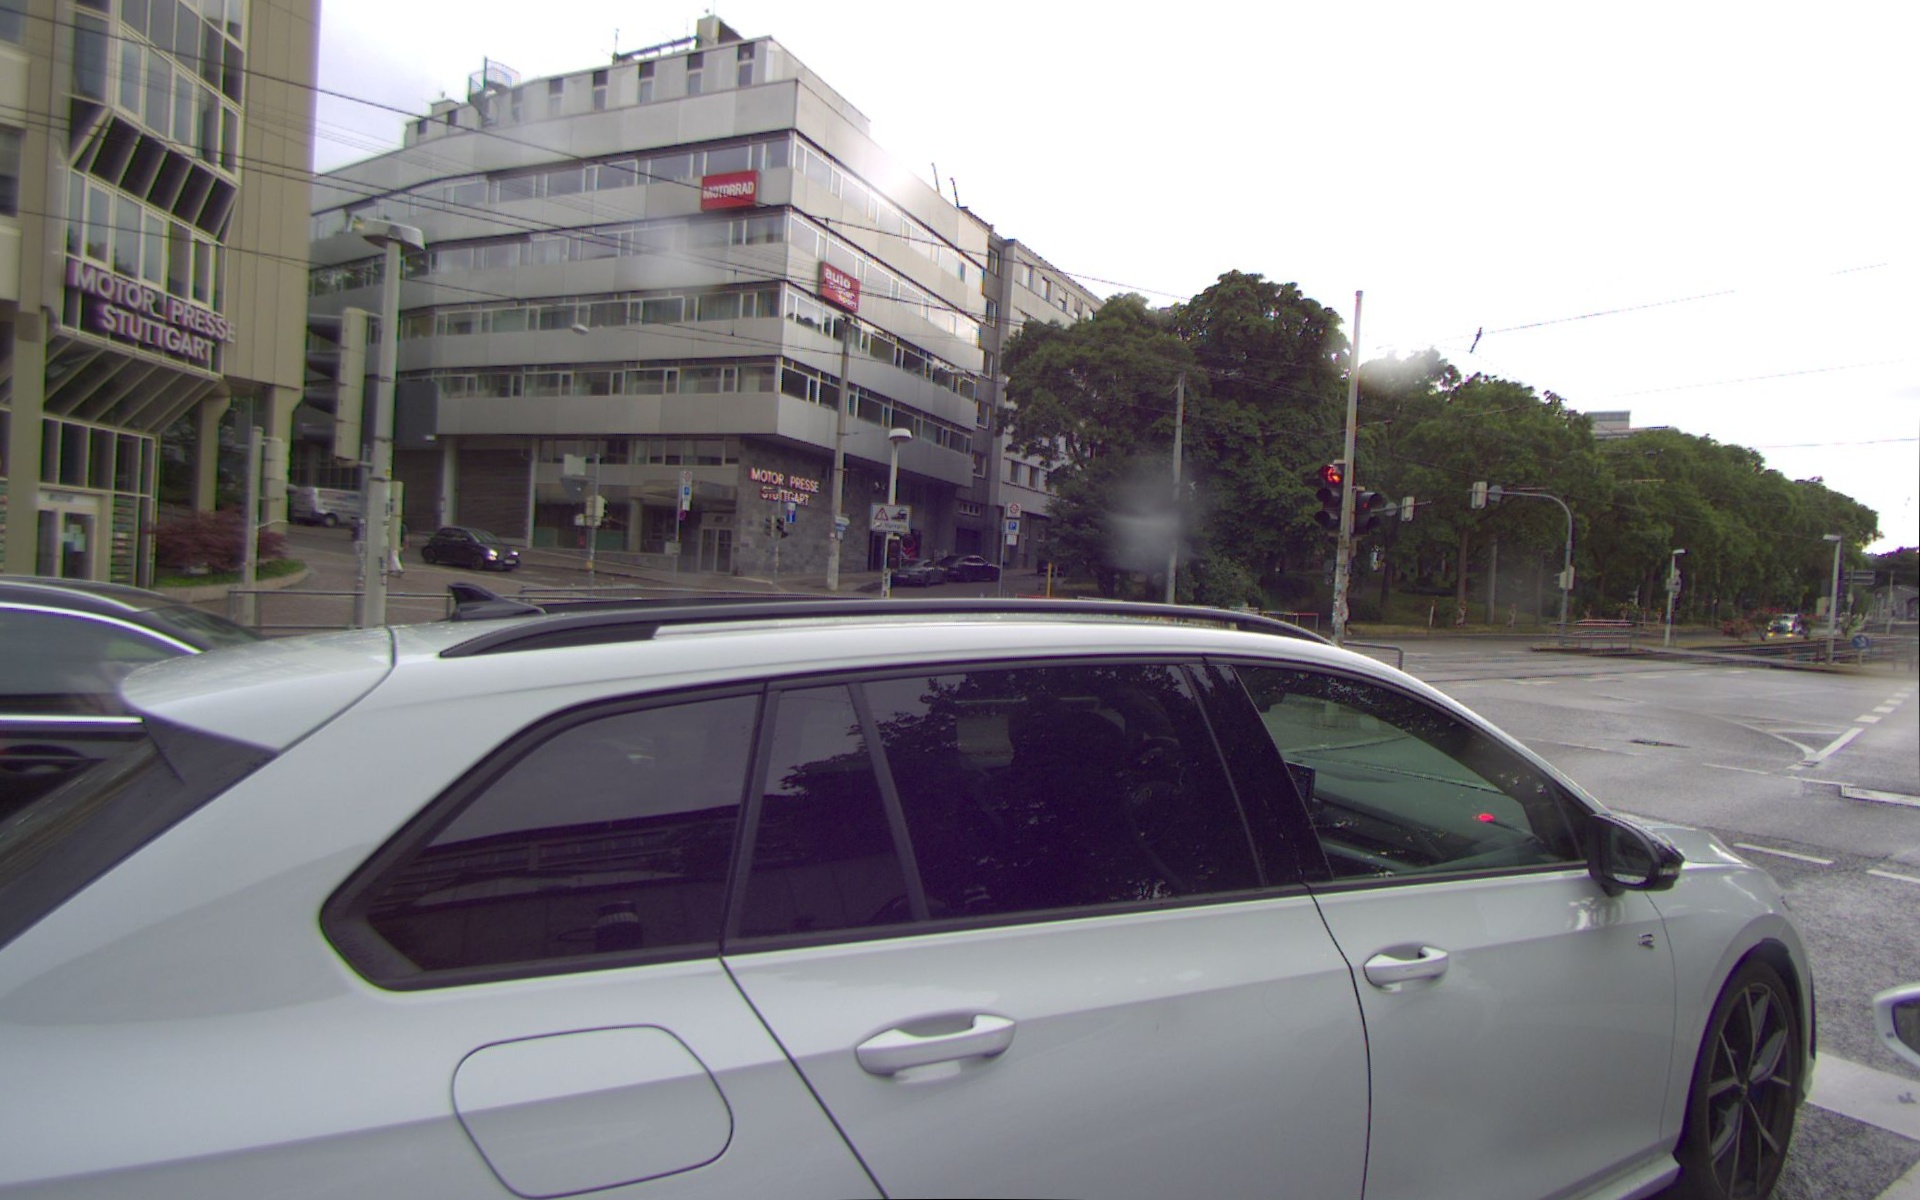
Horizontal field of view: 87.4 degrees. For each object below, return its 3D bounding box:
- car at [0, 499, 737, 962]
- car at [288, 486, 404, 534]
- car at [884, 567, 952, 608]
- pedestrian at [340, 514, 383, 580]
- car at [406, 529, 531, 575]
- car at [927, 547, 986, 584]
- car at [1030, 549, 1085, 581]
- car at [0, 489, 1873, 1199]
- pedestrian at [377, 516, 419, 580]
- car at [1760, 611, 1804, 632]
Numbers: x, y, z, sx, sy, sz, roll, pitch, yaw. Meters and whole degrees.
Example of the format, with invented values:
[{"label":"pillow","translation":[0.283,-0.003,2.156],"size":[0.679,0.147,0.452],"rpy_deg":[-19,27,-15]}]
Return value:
[{"label":"car","translation":[-3.473,0.370,4.112],"size":[4.592,1.487,1.982],"rpy_deg":[1,3,-32]},{"label":"car","translation":[-32.113,-4.688,52.675],"size":[1.963,2.040,4.831],"rpy_deg":[5,2,26]},{"label":"car","translation":[-2.067,-0.641,50.760],"size":[1.961,1.818,4.000],"rpy_deg":[5,2,19]},{"label":"pedestrian","translation":[-16.930,-1.491,28.421],"size":[0.630,1.811,0.808],"rpy_deg":[6,3,36]},{"label":"car","translation":[-18.214,-1.774,37.260],"size":[3.920,1.383,1.830],"rpy_deg":[5,2,16]},{"label":"car","translation":[-0.162,-1.950,55.621],"size":[1.961,1.818,3.998],"rpy_deg":[5,5,19]},{"label":"car","translation":[6.432,-2.292,65.905],"size":[1.964,1.818,4.202],"rpy_deg":[6,2,30]},{"label":"car","translation":[0.111,0.724,2.258],"size":[4.203,1.597,1.670],"rpy_deg":[2,1,-31]},{"label":"pedestrian","translation":[-16.477,-1.527,29.463],"size":[0.630,1.811,0.808],"rpy_deg":[6,3,36]},{"label":"car","translation":[66.690,1.735,81.467],"size":[3.967,1.539,1.977],"rpy_deg":[1,2,-40]}]
